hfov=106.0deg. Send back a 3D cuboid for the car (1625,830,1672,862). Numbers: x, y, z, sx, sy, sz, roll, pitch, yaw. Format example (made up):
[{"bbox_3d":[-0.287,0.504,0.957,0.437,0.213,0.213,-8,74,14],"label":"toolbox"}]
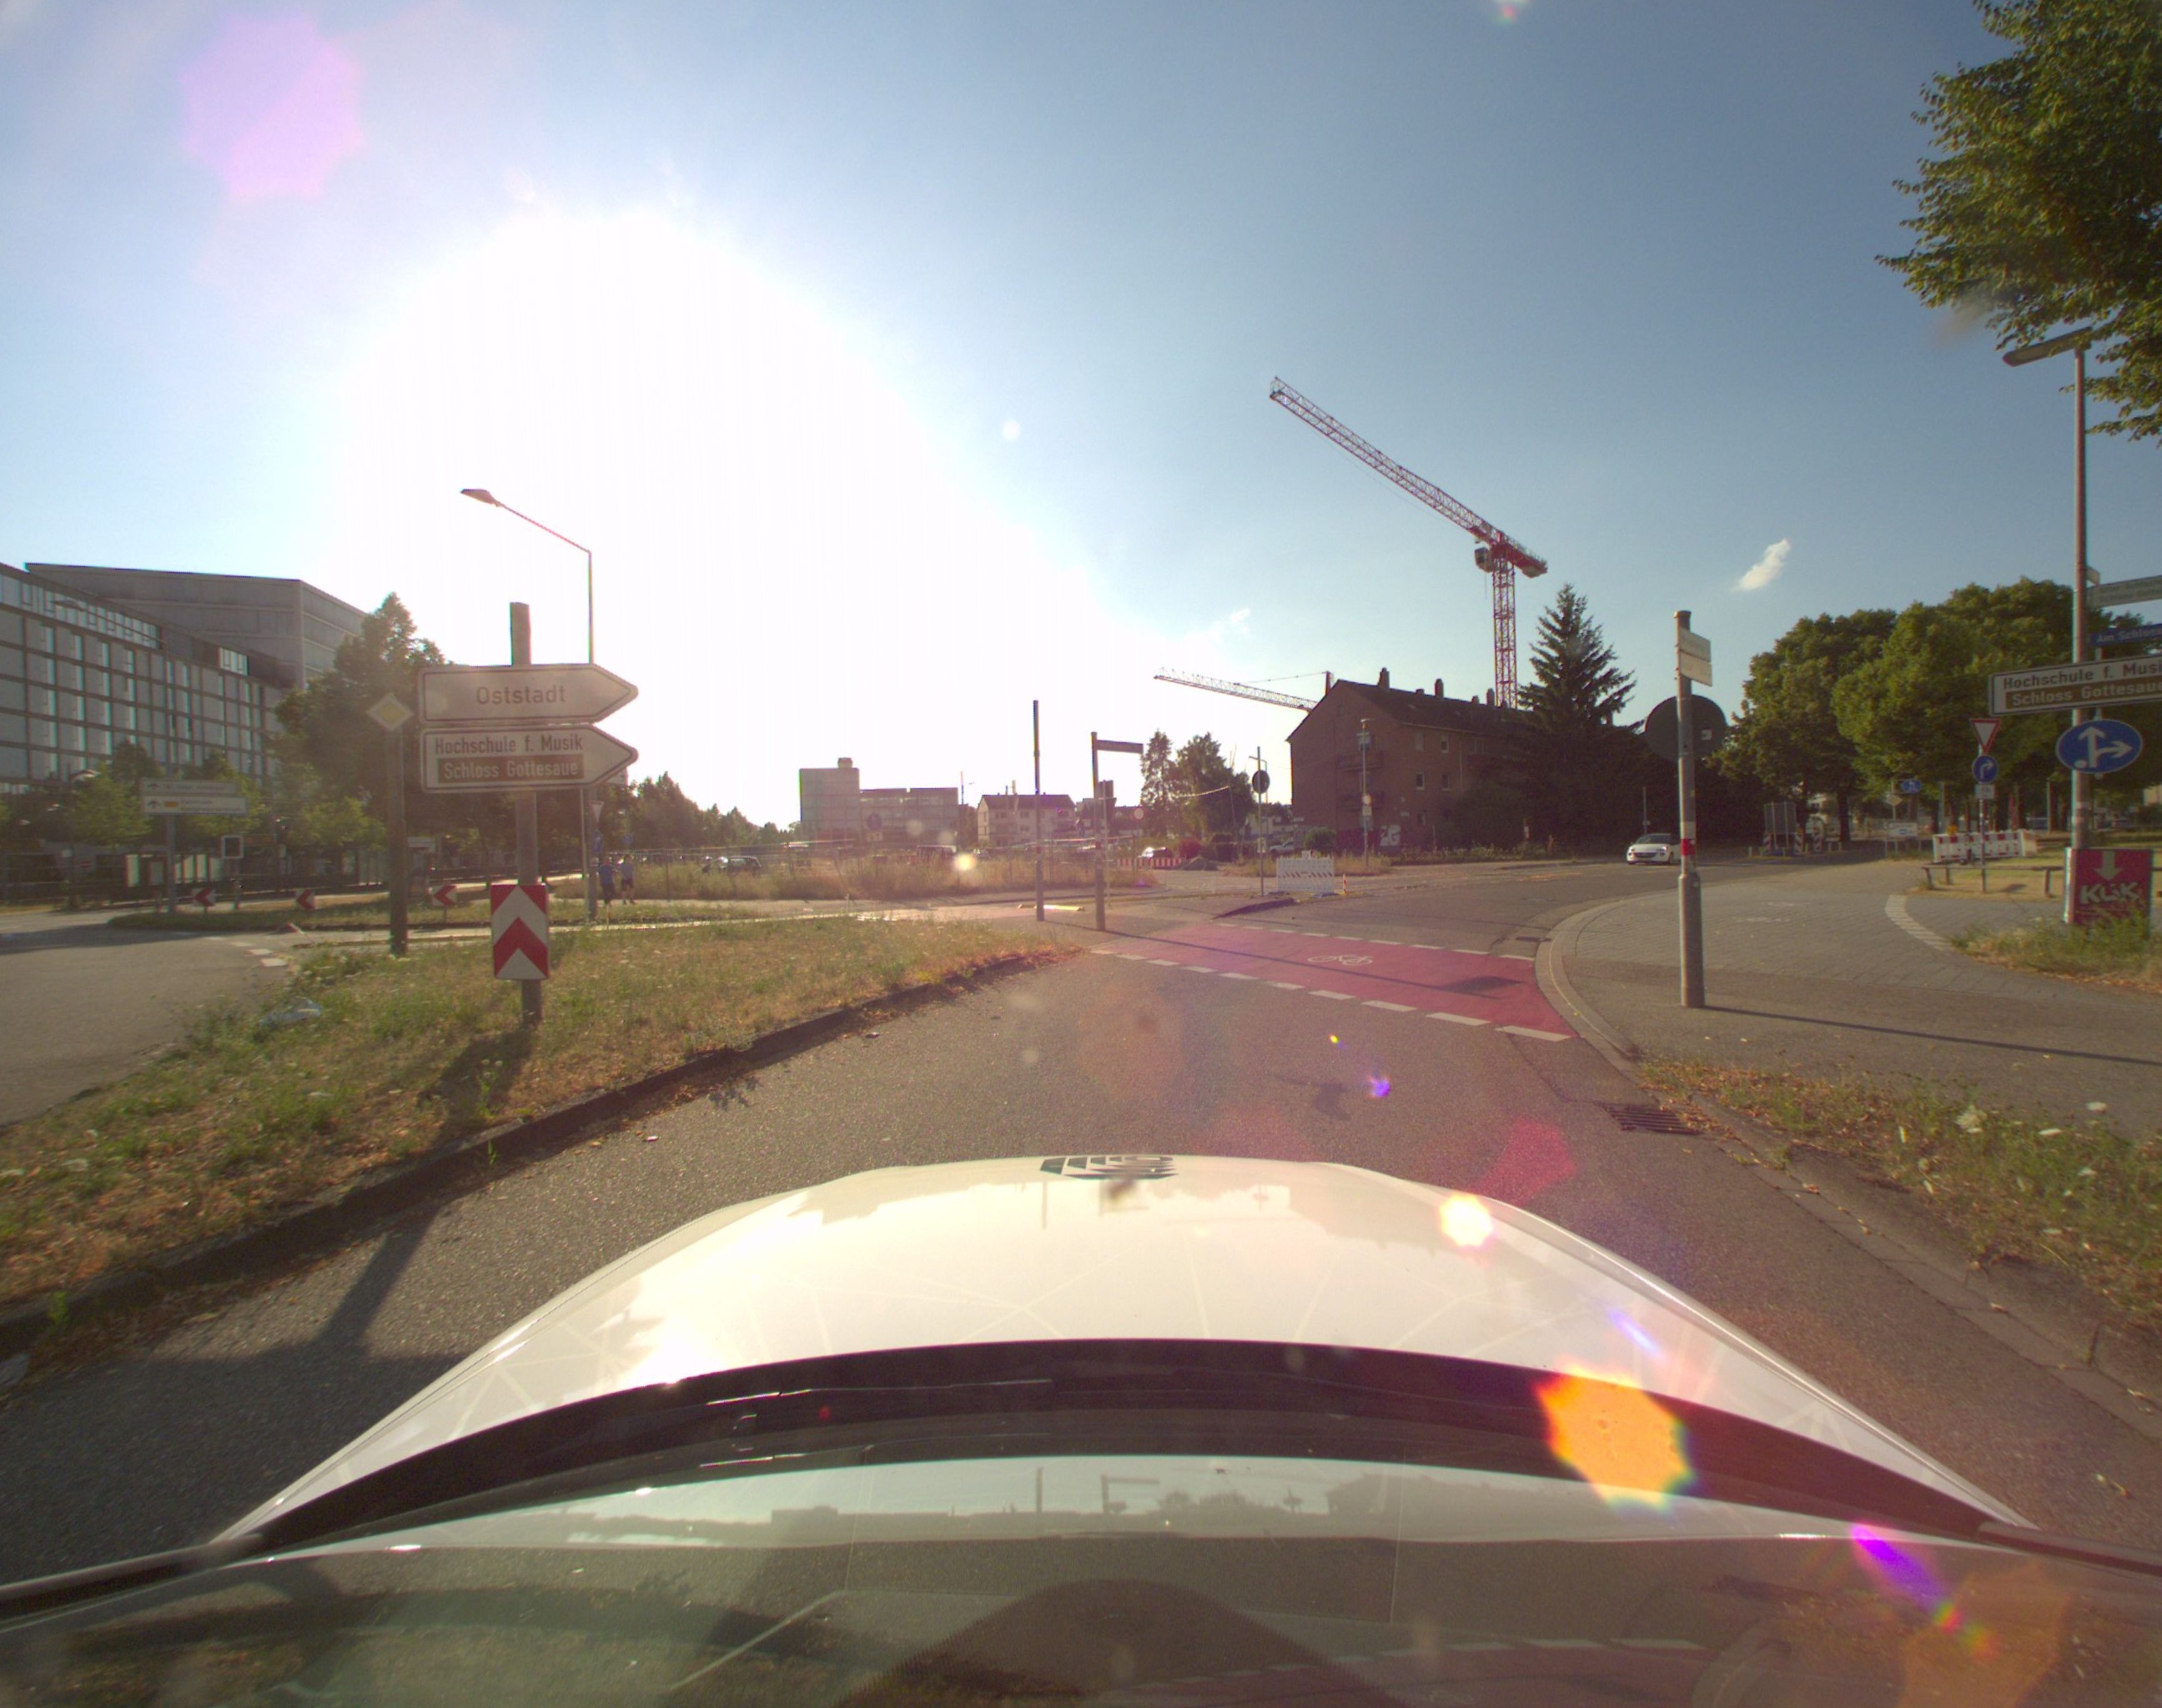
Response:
[{"bbox_3d":[26.618,-0.402,38.279,1.742,1.421,3.648,0,2,33],"label":"car"}]

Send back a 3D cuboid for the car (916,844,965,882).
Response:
[{"bbox_3d":[-8.051,0.477,47.052,1.988,2.013,5.310,-2,0,-2],"label":"car"}]

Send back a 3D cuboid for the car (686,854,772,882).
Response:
[{"bbox_3d":[-19.494,0.749,45.113,4.255,1.363,1.982,-2,0,-28],"label":"car"}]

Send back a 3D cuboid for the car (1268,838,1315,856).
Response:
[{"bbox_3d":[19.683,-0.680,76.194,3.952,1.530,2.011,-2,0,22],"label":"car"}]

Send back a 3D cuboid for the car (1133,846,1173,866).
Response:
[{"bbox_3d":[6.018,0.180,68.260,1.998,1.552,3.978,-2,0,-16],"label":"car"}]

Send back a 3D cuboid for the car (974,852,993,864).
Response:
[{"bbox_3d":[-15.736,0.636,130.828,2.152,1.837,4.334,-2,0,-19],"label":"car"}]

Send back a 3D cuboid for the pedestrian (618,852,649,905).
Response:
[{"bbox_3d":[-15.494,0.836,28.187,0.764,1.775,0.763,-2,0,-40],"label":"pedestrian"}]

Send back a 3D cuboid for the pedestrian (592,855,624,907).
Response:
[{"bbox_3d":[-16.035,0.905,27.603,0.790,1.708,0.803,-2,0,-39],"label":"pedestrian"}]

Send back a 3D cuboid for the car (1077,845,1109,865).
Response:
[{"bbox_3d":[1.224,0.068,83.233,1.869,1.947,3.972,-2,0,-20],"label":"car"}]

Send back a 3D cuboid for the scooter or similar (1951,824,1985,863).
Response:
[{"bbox_3d":[30.400,-0.372,27.896,1.469,1.292,0.555,-2,5,-36],"label":"scooter or similar"}]
